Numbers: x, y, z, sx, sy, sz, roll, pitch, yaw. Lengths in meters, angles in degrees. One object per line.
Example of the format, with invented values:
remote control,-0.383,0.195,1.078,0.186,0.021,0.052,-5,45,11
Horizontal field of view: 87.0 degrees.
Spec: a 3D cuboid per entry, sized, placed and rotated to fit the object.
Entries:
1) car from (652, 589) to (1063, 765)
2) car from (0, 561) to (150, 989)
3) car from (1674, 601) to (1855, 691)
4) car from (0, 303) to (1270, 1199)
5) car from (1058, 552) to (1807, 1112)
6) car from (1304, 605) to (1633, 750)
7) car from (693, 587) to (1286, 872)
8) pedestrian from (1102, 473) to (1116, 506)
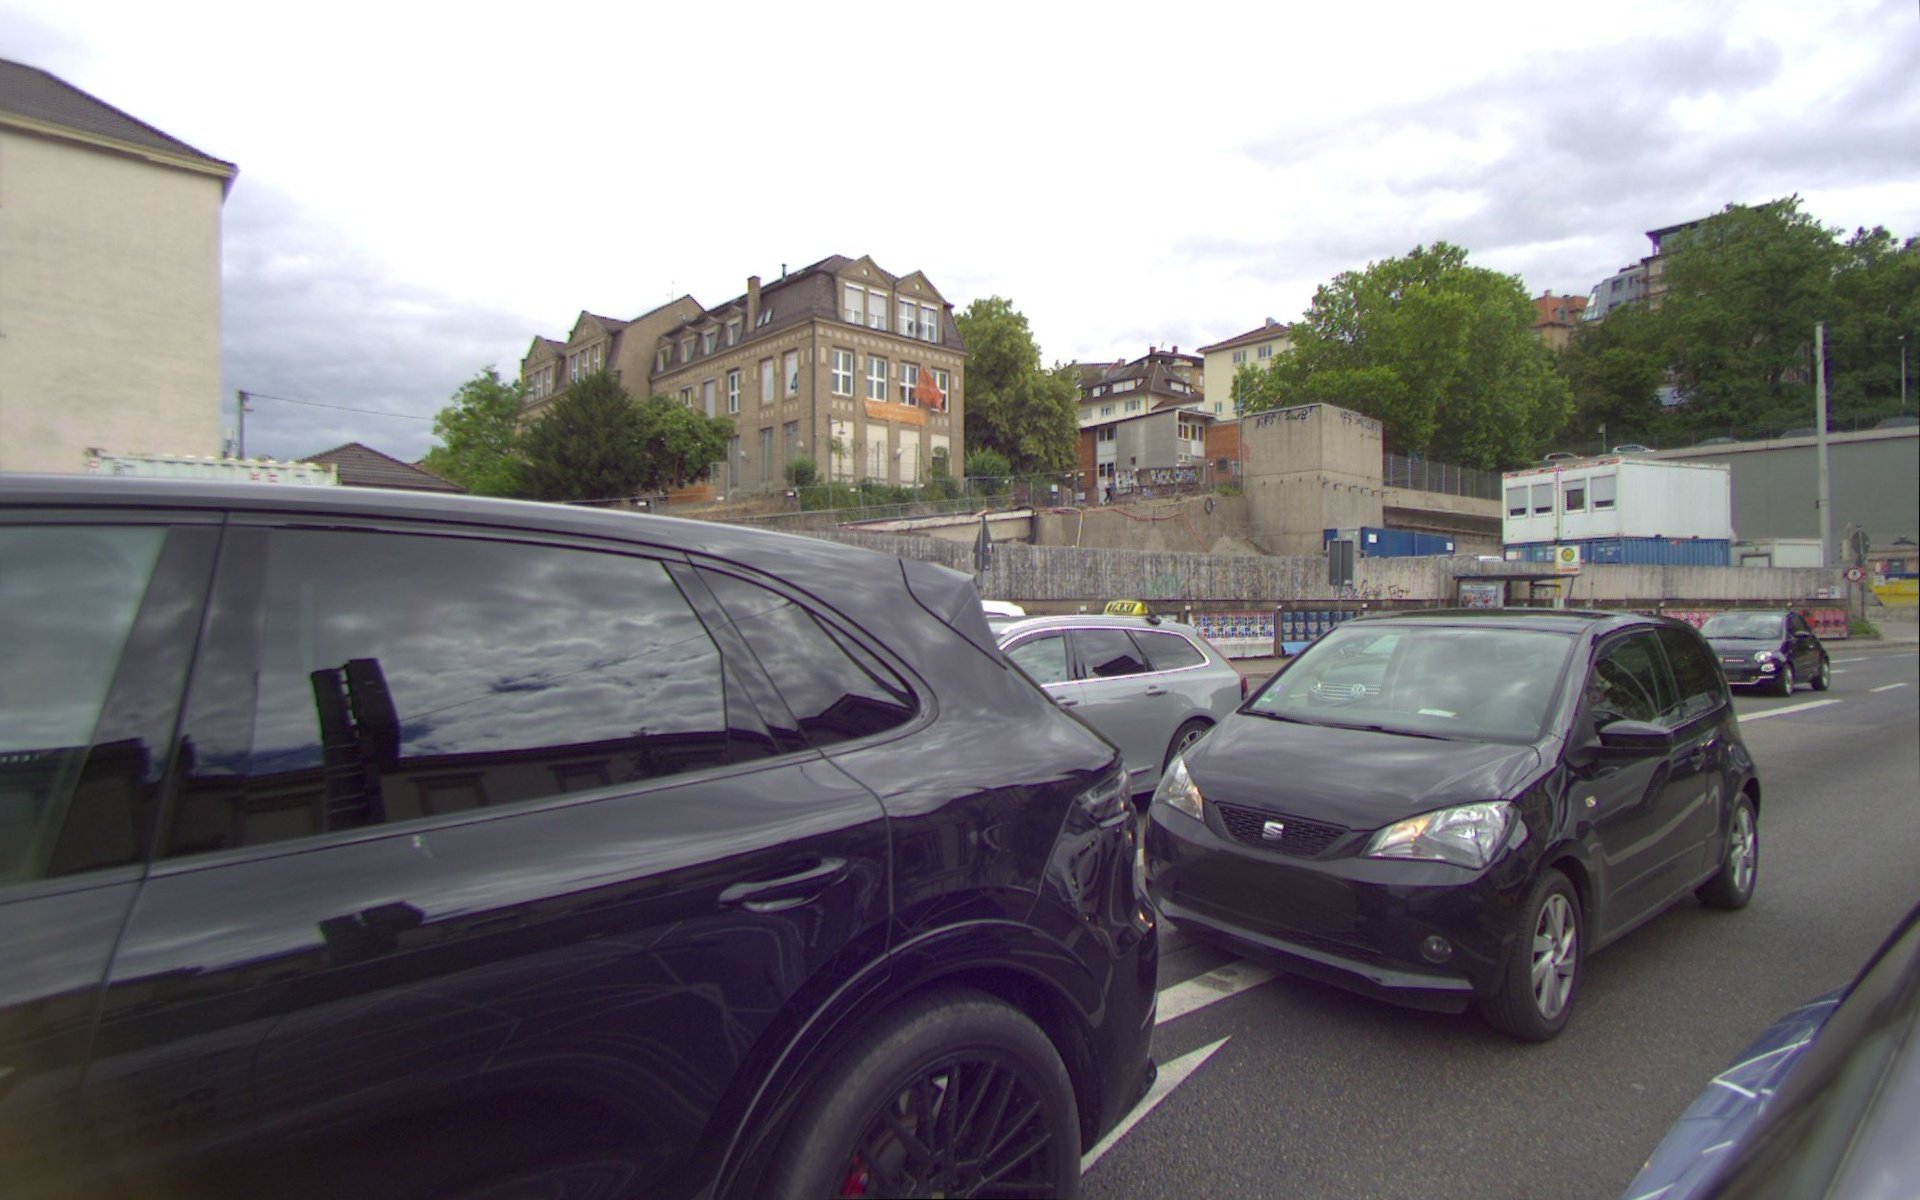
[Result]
car,-0.943,0.632,10.600,4.004,1.484,1.824,-1,0,-42
car,-5.066,0.635,3.454,3.581,1.529,1.826,-1,0,-39
car,14.704,0.784,18.441,3.711,1.478,1.721,1,-2,-38
car,-1.661,0.554,1.664,4.497,1.689,1.998,-1,0,-39
car,2.408,0.630,4.716,3.841,1.575,1.661,-1,0,-39
car,6.020,0.767,11.802,4.139,1.381,1.827,1,0,-38
car,0.396,0.656,7.337,4.142,1.484,1.825,-1,0,-40
pedestrian,8.309,-6.155,56.447,0.558,1.817,0.555,0,0,-30
